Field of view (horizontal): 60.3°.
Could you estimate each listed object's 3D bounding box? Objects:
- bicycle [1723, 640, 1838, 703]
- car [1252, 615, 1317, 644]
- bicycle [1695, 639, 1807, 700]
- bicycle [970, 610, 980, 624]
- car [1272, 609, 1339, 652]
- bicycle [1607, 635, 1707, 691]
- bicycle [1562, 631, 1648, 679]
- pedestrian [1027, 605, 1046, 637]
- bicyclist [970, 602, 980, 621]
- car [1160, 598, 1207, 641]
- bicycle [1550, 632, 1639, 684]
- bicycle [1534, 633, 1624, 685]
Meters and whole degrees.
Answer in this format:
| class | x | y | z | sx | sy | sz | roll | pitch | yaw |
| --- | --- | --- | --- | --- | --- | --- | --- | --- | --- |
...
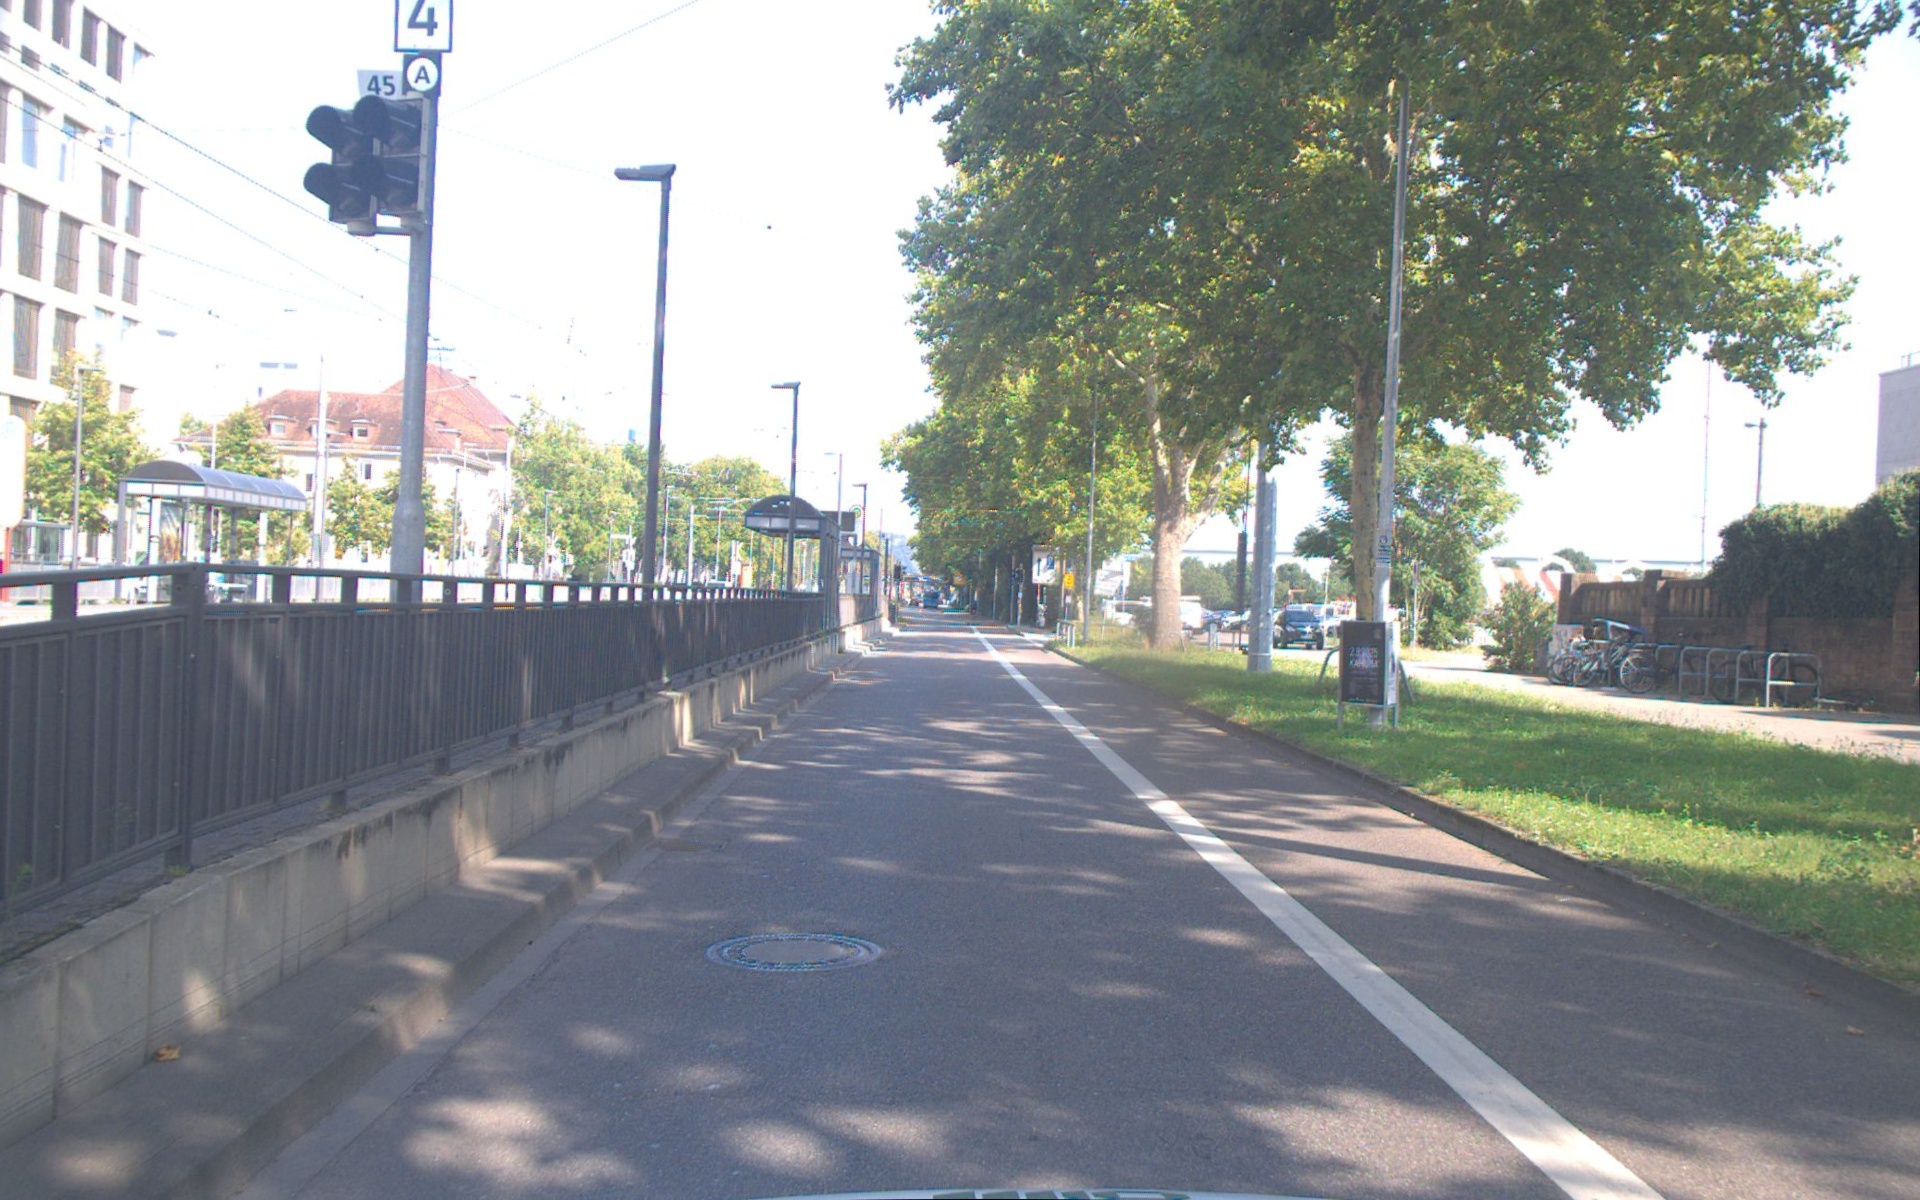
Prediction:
| class | x | y | z | sx | sy | sz | roll | pitch | yaw |
| --- | --- | --- | --- | --- | --- | --- | --- | --- | --- |
| bicycle | 13.332 | 1.154 | 26.893 | 1.622 | 0.986 | 0.506 | 0 | 0 | 0 |
| car | 19.636 | 1.775 | 100.172 | 3.695 | 1.471 | 1.528 | 3 | -1 | 5 |
| bicycle | 13.268 | 1.166 | 27.749 | 1.621 | 0.986 | 0.506 | 0 | 0 | 4 |
| bicycle | 1.208 | 1.370 | 136.778 | 0.700 | 1.127 | 2.508 | 3 | 0 | -1 |
| car | 14.856 | 1.297 | 70.989 | 1.689 | 1.708 | 4.243 | 2 | 0 | 27 |
| bicycle | 12.838 | 1.158 | 30.479 | 1.621 | 0.986 | 0.506 | 0 | 0 | 4 |
| bicycle | 13.608 | 1.163 | 34.913 | 1.622 | 0.986 | 0.506 | 0 | 0 | 1 |
| pedestrian | 4.048 | 1.119 | 87.368 | 0.614 | 1.645 | 0.842 | 2 | 0 | 36 |
| bicyclist | 1.232 | 0.961 | 136.841 | 0.691 | 1.486 | 1.009 | 3 | -1 | -1 |
| car | 11.363 | 0.984 | 84.419 | 1.687 | 2.084 | 4.460 | 2 | 0 | -1 |
| bicycle | 12.868 | 1.171 | 33.577 | 0.502 | 0.986 | 1.636 | 1 | 0 | -42 |
| bicycle | 12.370 | 1.168 | 33.073 | 0.502 | 0.986 | 1.636 | 1 | 0 | -42 |
